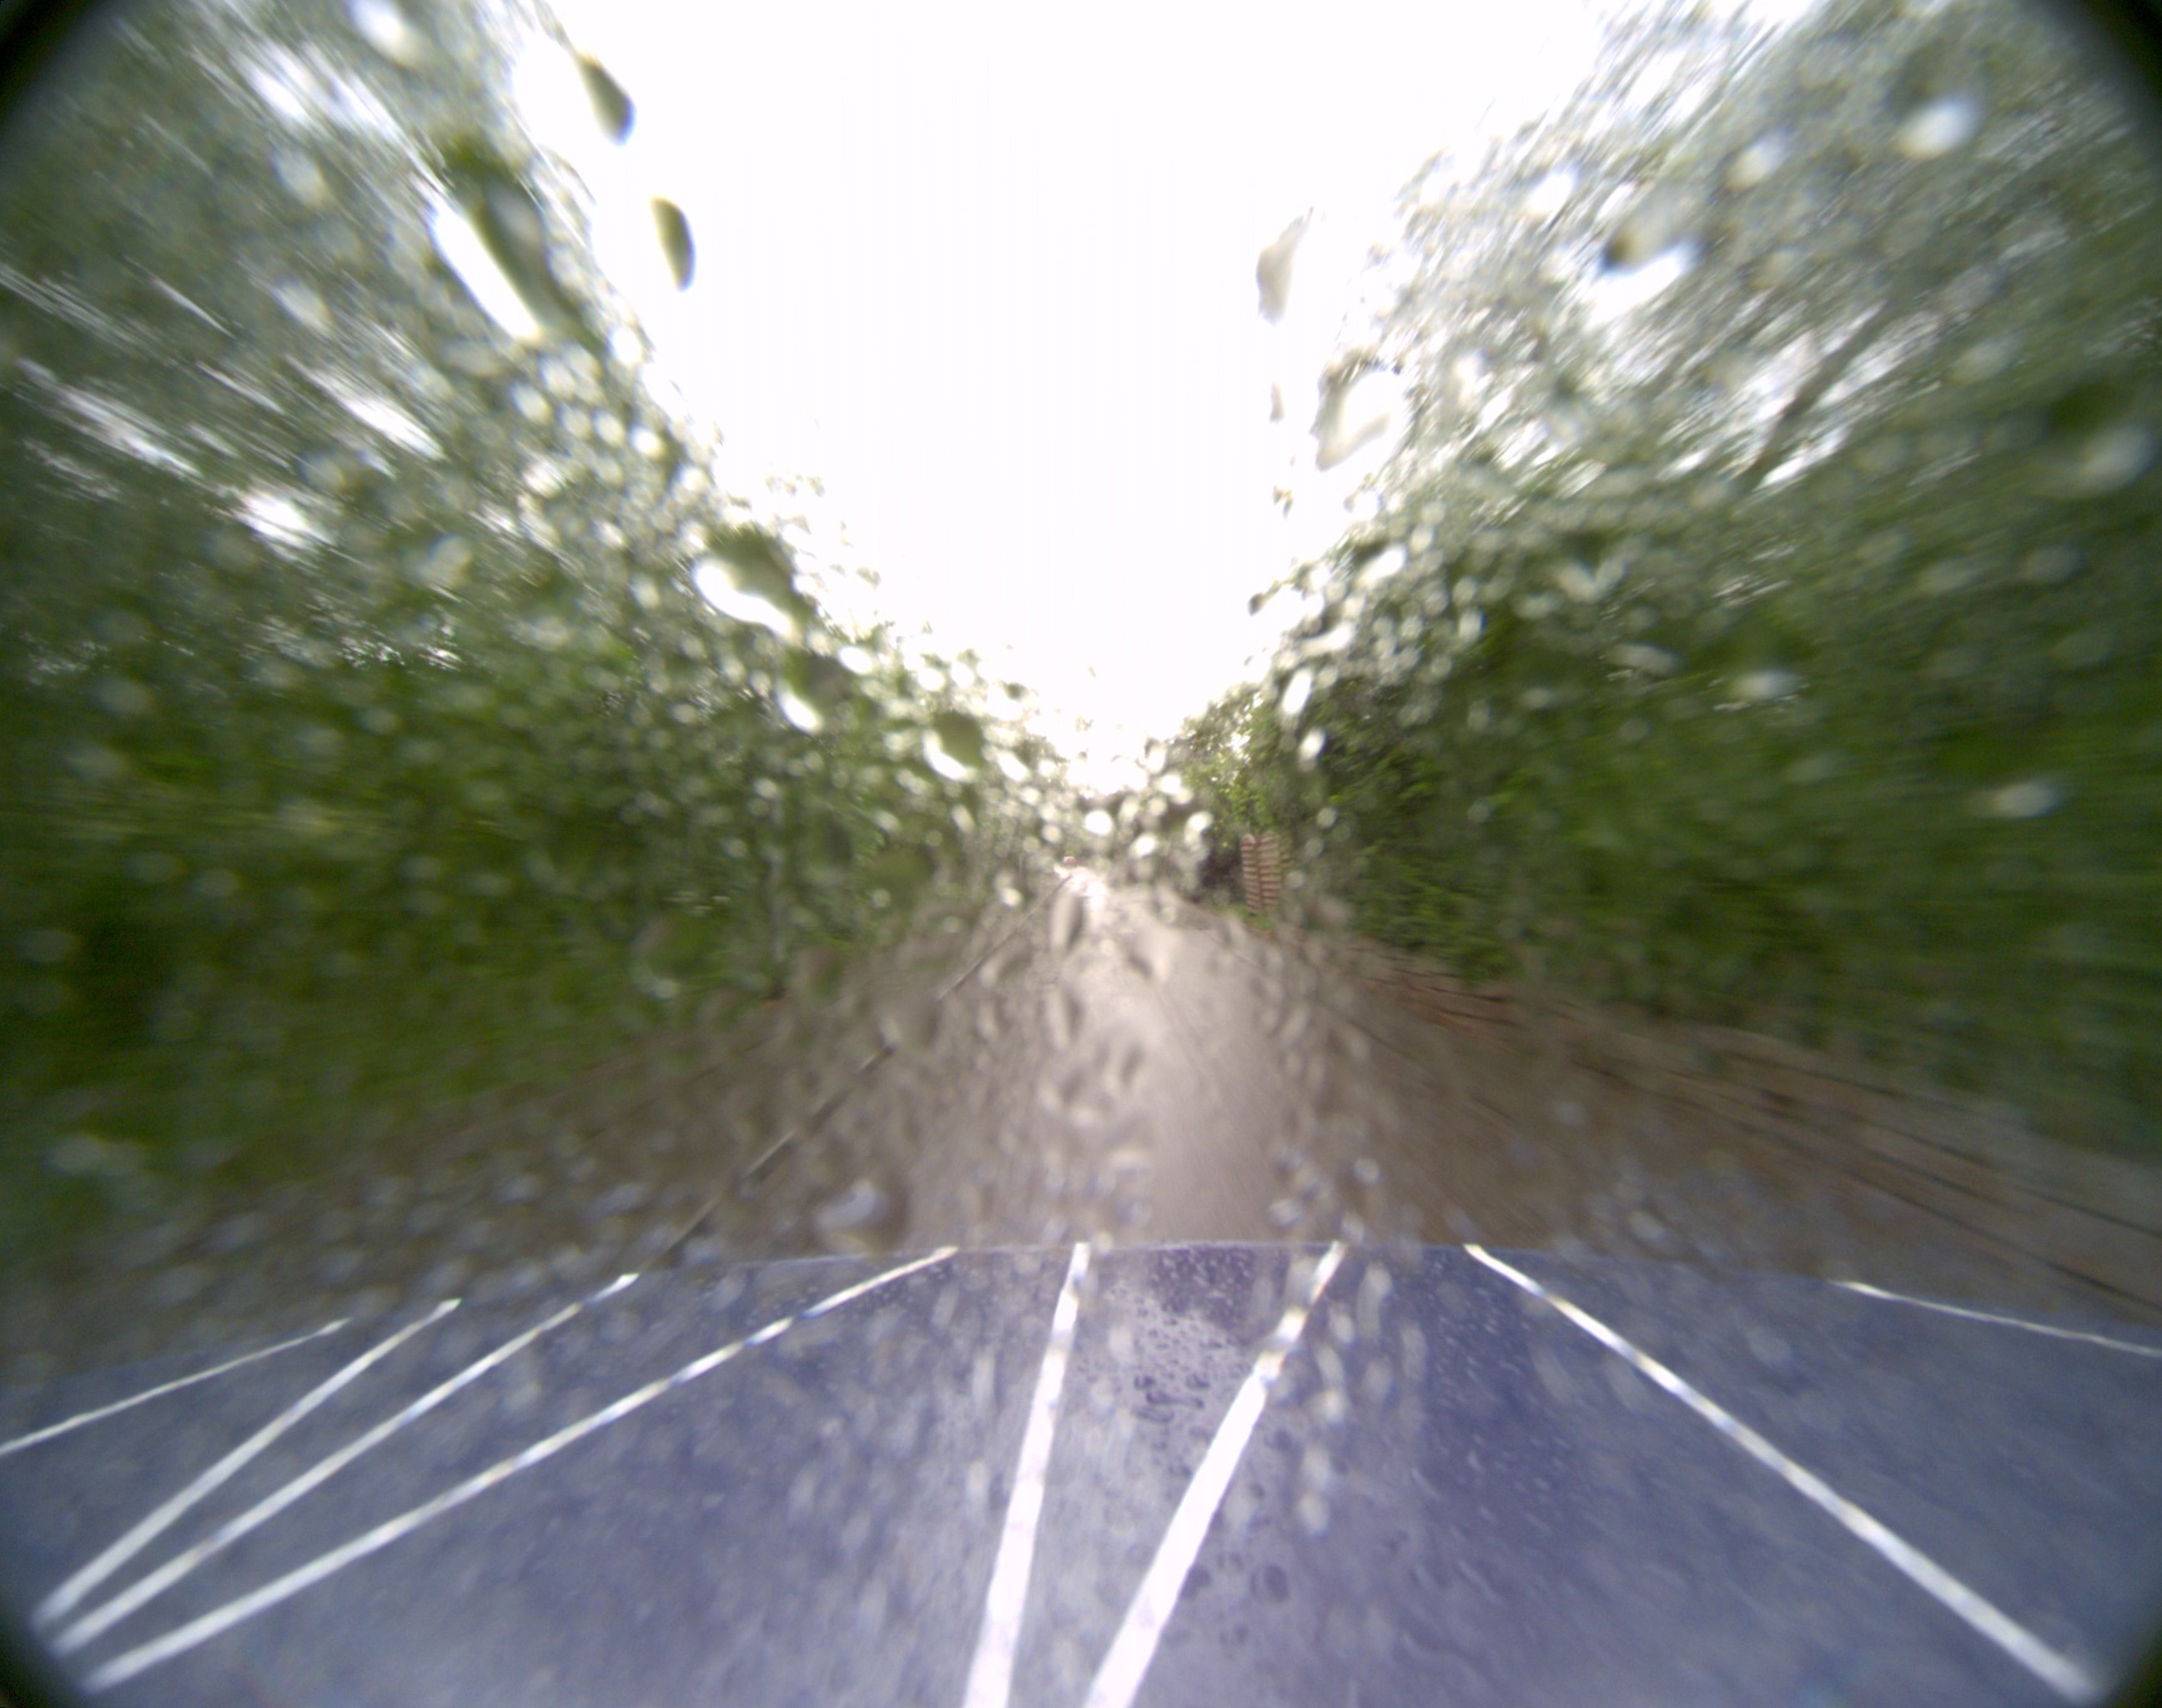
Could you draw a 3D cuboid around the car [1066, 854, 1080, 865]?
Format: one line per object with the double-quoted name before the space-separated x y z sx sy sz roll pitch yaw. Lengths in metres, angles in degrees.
"car" -1.244 0.740 111.160 1.894 1.514 4.420 -1 1 -2
